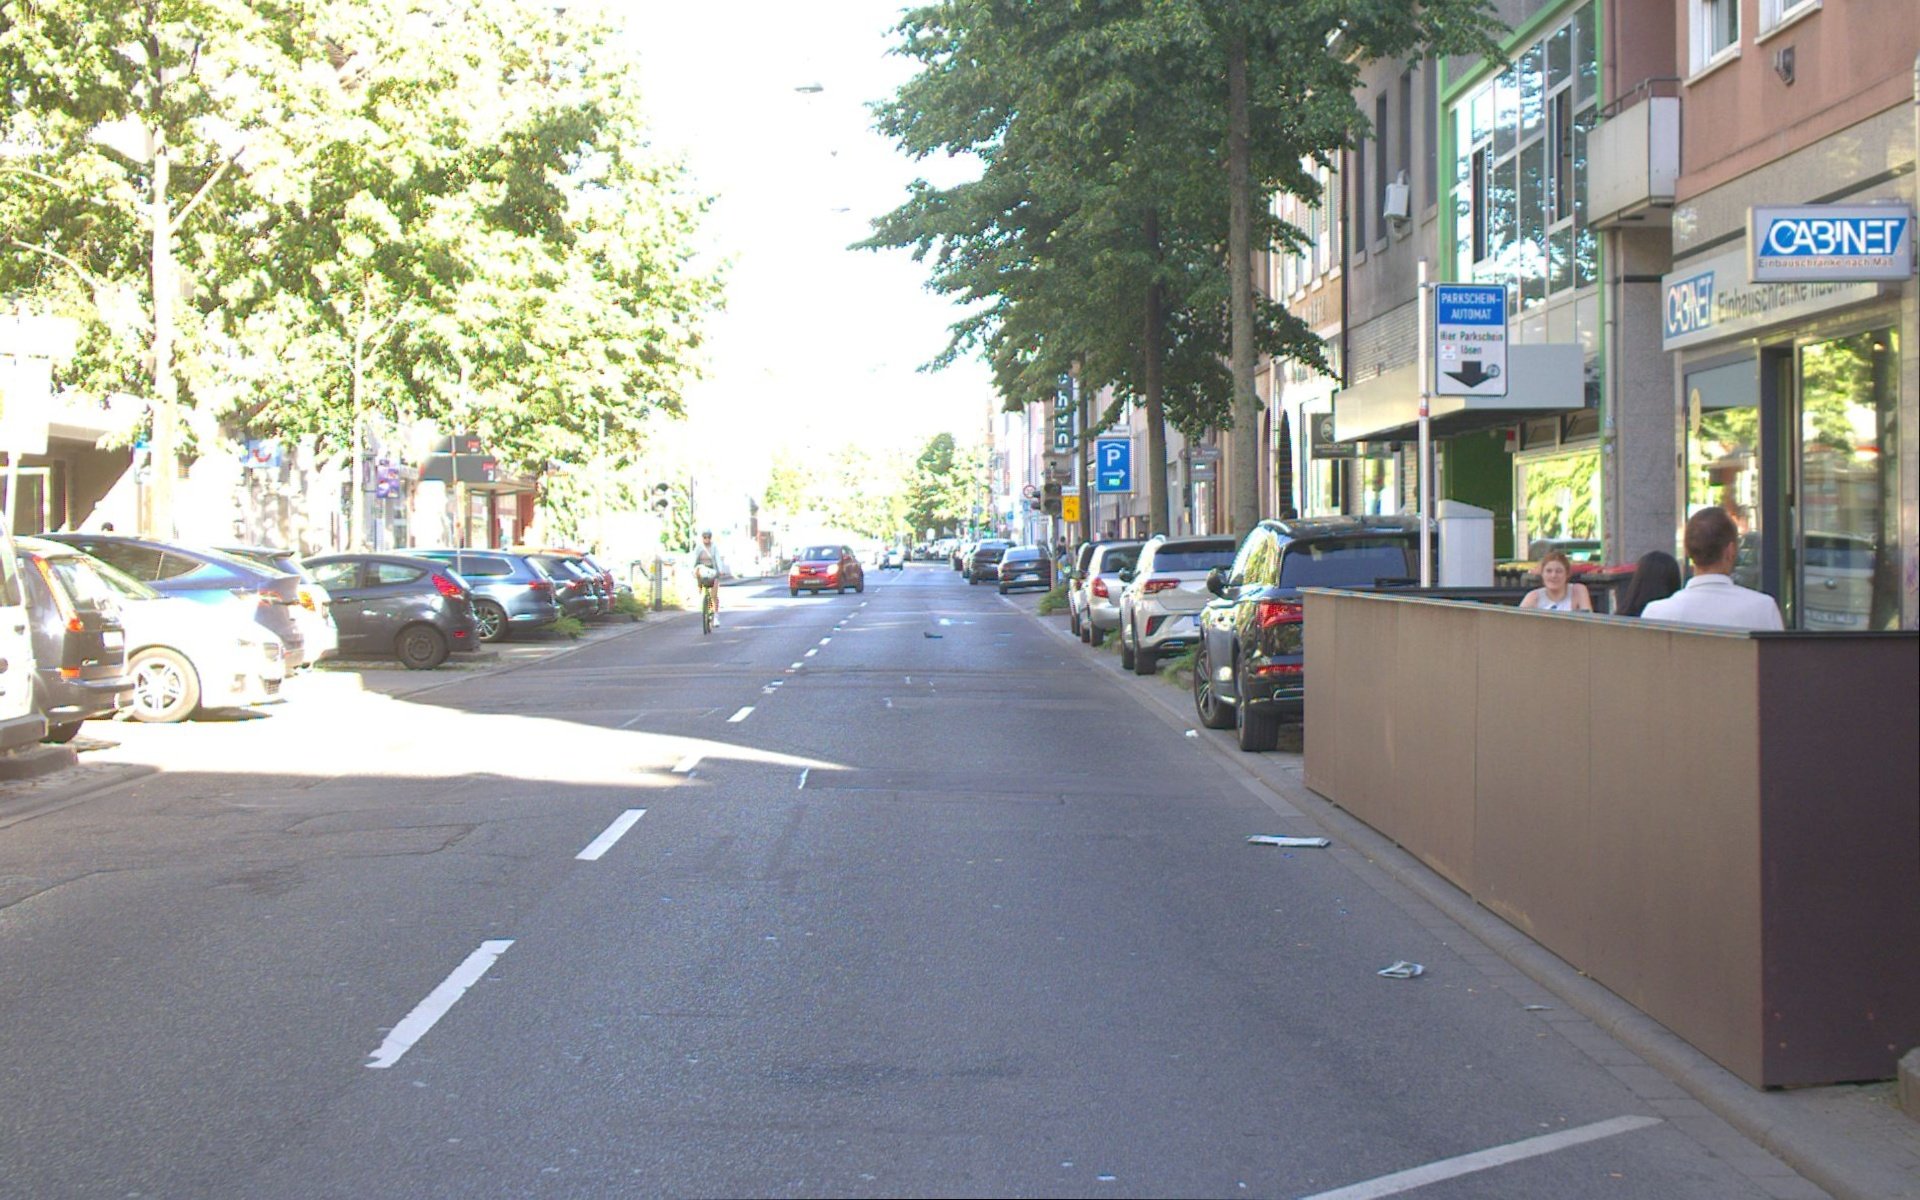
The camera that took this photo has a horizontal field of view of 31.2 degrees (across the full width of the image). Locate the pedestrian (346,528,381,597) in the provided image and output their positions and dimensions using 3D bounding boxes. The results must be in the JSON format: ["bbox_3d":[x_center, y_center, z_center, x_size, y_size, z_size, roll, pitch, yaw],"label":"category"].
[{"bbox_3d":[-12.307,-0.778,70.980,0.508,1.403,0.825,1,2,4],"label":"pedestrian"}]

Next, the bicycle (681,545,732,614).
[{"bbox_3d":[-4.408,-0.362,59.894,0.725,1.165,2.197,0,1,0],"label":"bicycle"}]

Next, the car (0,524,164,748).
[{"bbox_3d":[-7.861,0.223,24.835,3.799,1.553,1.792,0,1,0],"label":"car"}]

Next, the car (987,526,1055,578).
[{"bbox_3d":[1.876,-1.516,107.509,1.917,1.473,4.965,-4,1,0],"label":"car"}]

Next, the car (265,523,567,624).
[{"bbox_3d":[-8.551,-0.433,54.327,4.492,1.453,1.790,1,1,-2],"label":"car"}]

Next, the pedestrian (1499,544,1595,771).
[{"bbox_3d":[3.490,0.331,20.432,0.473,1.326,0.483,1,1,19],"label":"pedestrian"}]

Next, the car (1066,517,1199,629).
[{"bbox_3d":[2.555,-0.427,51.681,1.613,1.523,4.235,-3,1,-1],"label":"car"}]

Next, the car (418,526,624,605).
[{"bbox_3d":[-8.409,-0.675,66.074,3.748,1.463,1.740,1,1,-1],"label":"car"}]

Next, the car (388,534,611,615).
[{"bbox_3d":[-8.483,-0.485,63.545,3.841,1.424,1.789,1,1,1],"label":"car"}]

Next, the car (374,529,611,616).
[{"bbox_3d":[-8.249,-0.501,60.897,3.919,1.480,1.771,1,1,1],"label":"car"}]

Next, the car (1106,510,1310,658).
[{"bbox_3d":[2.768,-0.215,39.274,1.883,1.522,4.234,-2,1,-1],"label":"car"}]

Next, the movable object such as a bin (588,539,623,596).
[{"bbox_3d":[-8.373,-0.775,81.171,0.754,1.336,0.805,-1,1,-2],"label":"movable object such as a bin"}]

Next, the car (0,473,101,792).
[{"bbox_3d":[-7.495,0.136,20.740,4.105,1.830,2.039,1,1,0],"label":"car"}]

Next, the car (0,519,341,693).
[{"bbox_3d":[-8.158,0.028,32.173,4.366,1.565,1.980,0,1,0],"label":"car"}]

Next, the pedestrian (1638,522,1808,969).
[{"bbox_3d":[2.654,0.495,11.990,0.472,1.524,0.462,1,1,0],"label":"pedestrian"}]

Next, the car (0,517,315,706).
[{"bbox_3d":[-7.949,0.070,29.744,4.366,1.565,1.946,0,1,0],"label":"car"}]

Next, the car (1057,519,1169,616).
[{"bbox_3d":[2.532,-0.552,57.568,1.613,1.523,3.061,-2,1,-1],"label":"car"}]

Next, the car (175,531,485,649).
[{"bbox_3d":[-7.923,-0.141,43.524,3.779,1.453,1.781,0,1,-8],"label":"car"}]

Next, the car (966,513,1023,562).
[{"bbox_3d":[1.257,-2.319,127.113,1.973,1.719,4.824,1,1,0],"label":"car"}]

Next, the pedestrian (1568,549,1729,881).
[{"bbox_3d":[2.916,0.475,14.597,0.552,1.374,0.594,1,1,0],"label":"pedestrian"}]

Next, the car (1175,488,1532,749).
[{"bbox_3d":[2.844,0.080,25.864,1.993,1.684,4.517,-3,1,-1],"label":"car"}]

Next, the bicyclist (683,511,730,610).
[{"bbox_3d":[-4.406,-0.690,59.822,0.725,1.694,1.282,0,1,0],"label":"bicyclist"}]

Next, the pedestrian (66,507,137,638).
[{"bbox_3d":[-11.858,-0.390,47.494,0.699,1.791,0.745,0,1,11],"label":"pedestrian"}]

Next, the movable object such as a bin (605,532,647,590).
[{"bbox_3d":[-8.558,-0.999,88.113,0.964,1.466,1.143,0,1,-2],"label":"movable object such as a bin"}]

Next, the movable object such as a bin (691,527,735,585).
[{"bbox_3d":[-6.331,-1.123,88.199,1.042,1.466,1.453,-1,1,-2],"label":"movable object such as a bin"}]

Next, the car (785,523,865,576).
[{"bbox_3d":[-4.129,-1.571,105.757,1.659,1.530,3.759,-1,1,10],"label":"car"}]

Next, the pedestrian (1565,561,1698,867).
[{"bbox_3d":[3.048,0.504,15.639,0.472,1.357,0.594,1,1,0],"label":"pedestrian"}]

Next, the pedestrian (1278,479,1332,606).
[{"bbox_3d":[4.890,-0.812,48.752,0.623,1.759,0.771,-2,1,1],"label":"pedestrian"}]

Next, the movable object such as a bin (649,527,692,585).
[{"bbox_3d":[-7.422,-1.123,88.160,1.042,1.466,1.143,-1,1,-2],"label":"movable object such as a bin"}]

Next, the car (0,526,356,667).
[{"bbox_3d":[-8.717,-0.055,36.804,4.244,1.453,1.981,0,1,-4],"label":"car"}]
